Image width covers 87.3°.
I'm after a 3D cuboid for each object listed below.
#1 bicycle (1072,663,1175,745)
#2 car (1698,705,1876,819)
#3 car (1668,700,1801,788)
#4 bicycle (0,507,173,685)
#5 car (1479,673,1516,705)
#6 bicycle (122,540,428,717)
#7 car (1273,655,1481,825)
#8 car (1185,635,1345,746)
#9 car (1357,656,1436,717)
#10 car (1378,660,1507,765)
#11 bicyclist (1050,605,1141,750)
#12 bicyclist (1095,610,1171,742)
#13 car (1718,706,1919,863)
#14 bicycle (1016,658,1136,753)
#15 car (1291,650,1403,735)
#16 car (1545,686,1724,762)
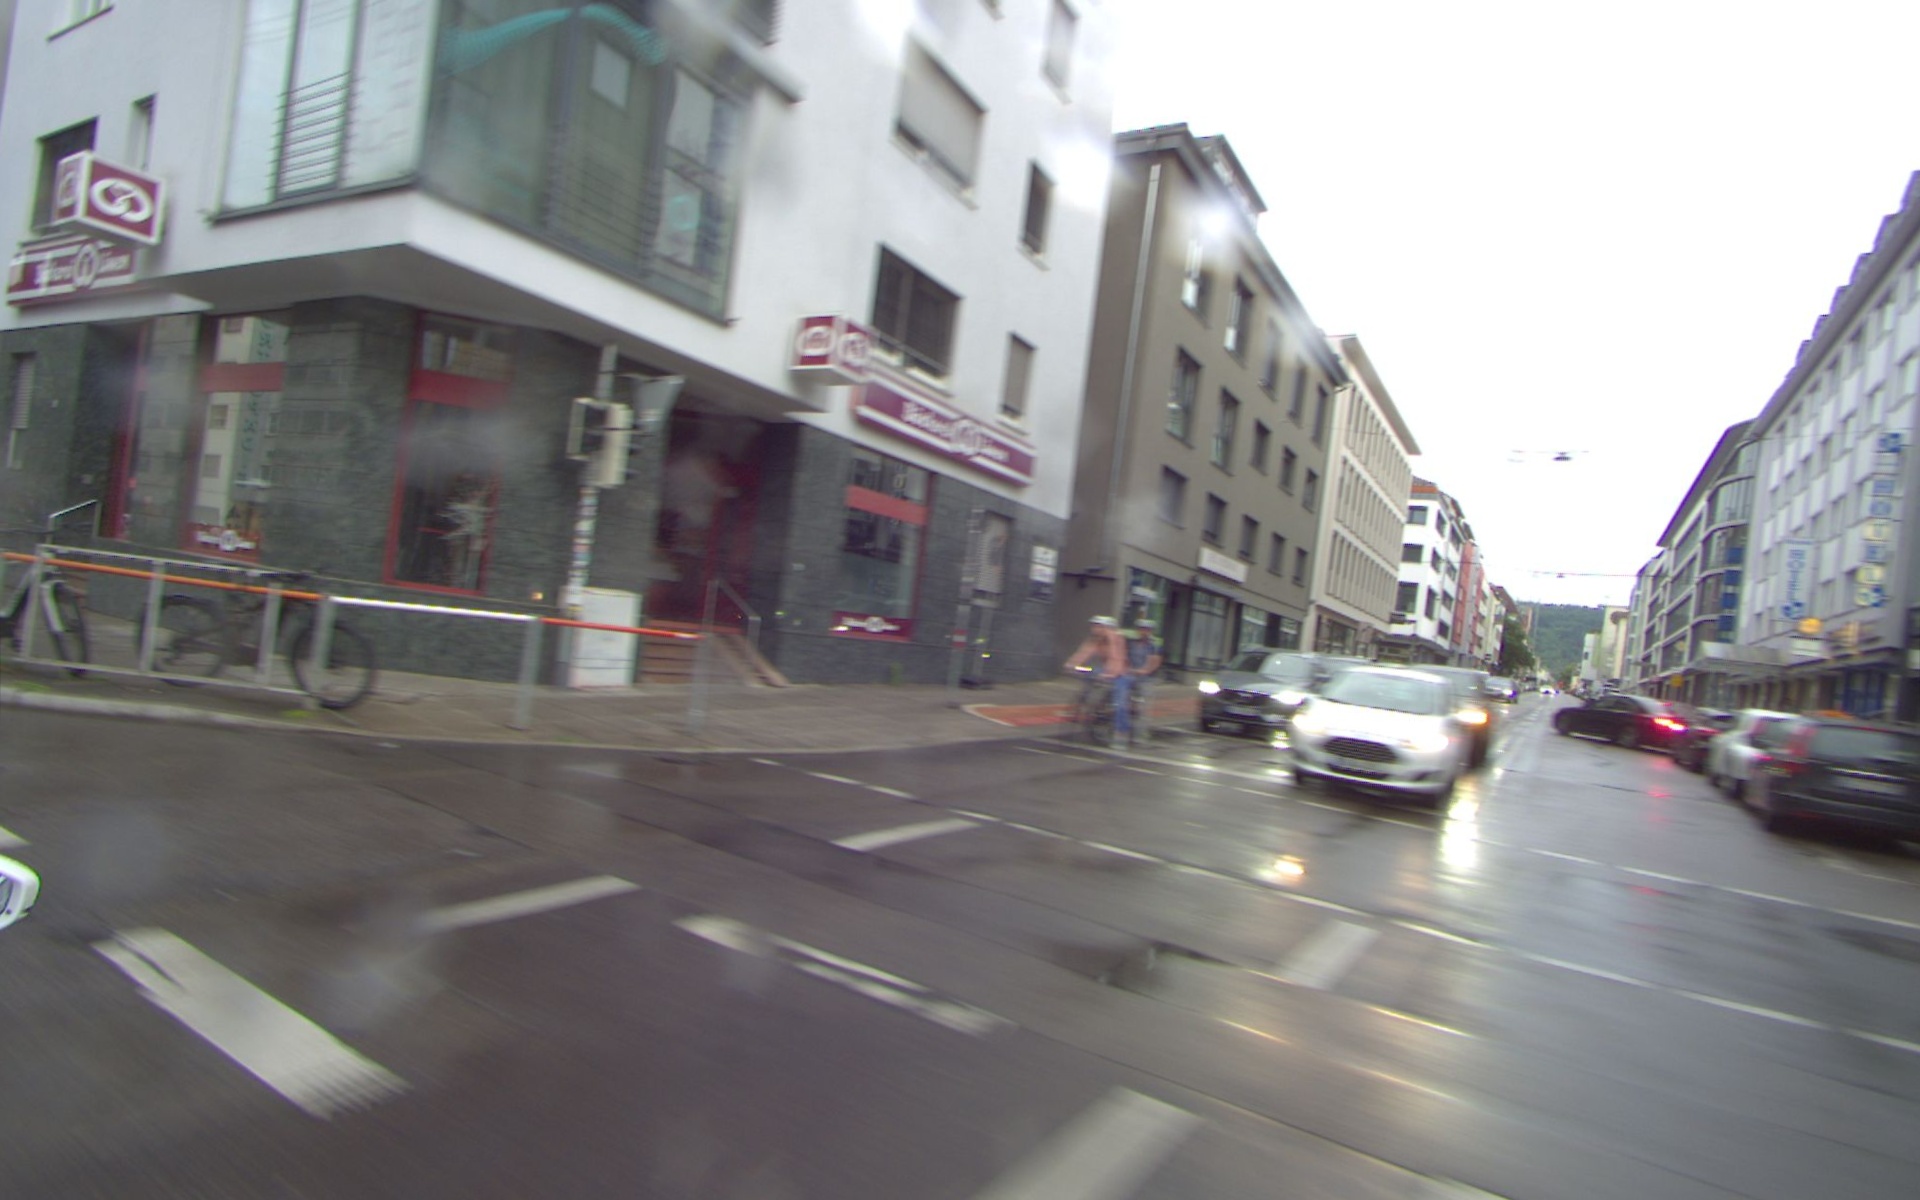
[{"bbox_3d":[2.398,1.480,14.577,0.743,1.023,1.983,6,-1,30],"label":"bicycle"},{"bbox_3d":[14.536,2.761,17.908,1.694,1.505,3.973,6,-1,30],"label":"car"},{"bbox_3d":[17.056,3.097,22.333,1.694,1.505,3.973,6,-1,30],"label":"car"},{"bbox_3d":[-7.508,-0.080,8.128,1.919,1.274,0.499,7,-1,7],"label":"bicycle"},{"bbox_3d":[32.957,5.446,61.662,1.748,1.660,4.084,6,-1,30],"label":"car"},{"bbox_3d":[-5.518,0.238,8.186,1.921,1.171,0.578,7,-1,-5],"label":"bicycle"},{"bbox_3d":[5.174,1.564,12.158,1.694,1.505,3.973,6,-1,30],"label":"car"},{"bbox_3d":[5.833,1.671,18.877,1.849,1.660,4.084,6,-1,30],"label":"car"},{"bbox_3d":[14.189,2.787,32.598,1.748,1.660,4.084,6,-1,30],"label":"car"},{"bbox_3d":[8.921,2.001,18.421,1.694,1.505,4.084,6,-1,30],"label":"car"},{"bbox_3d":[1.788,1.013,13.214,0.744,1.768,0.841,6,0,30],"label":"bicyclist"},{"bbox_3d":[2.527,1.100,14.696,0.744,1.813,0.634,6,0,30],"label":"bicyclist"},{"bbox_3d":[11.315,2.274,13.115,1.694,1.505,3.973,6,-1,30],"label":"car"},{"bbox_3d":[1.513,1.315,12.787,0.743,1.023,1.929,6,-1,30],"label":"bicycle"},{"bbox_3d":[9.411,2.205,24.279,1.748,1.660,4.084,6,-1,30],"label":"car"},{"bbox_3d":[19.111,3.462,28.798,1.691,1.505,4.551,6,-1,-4],"label":"car"}]
